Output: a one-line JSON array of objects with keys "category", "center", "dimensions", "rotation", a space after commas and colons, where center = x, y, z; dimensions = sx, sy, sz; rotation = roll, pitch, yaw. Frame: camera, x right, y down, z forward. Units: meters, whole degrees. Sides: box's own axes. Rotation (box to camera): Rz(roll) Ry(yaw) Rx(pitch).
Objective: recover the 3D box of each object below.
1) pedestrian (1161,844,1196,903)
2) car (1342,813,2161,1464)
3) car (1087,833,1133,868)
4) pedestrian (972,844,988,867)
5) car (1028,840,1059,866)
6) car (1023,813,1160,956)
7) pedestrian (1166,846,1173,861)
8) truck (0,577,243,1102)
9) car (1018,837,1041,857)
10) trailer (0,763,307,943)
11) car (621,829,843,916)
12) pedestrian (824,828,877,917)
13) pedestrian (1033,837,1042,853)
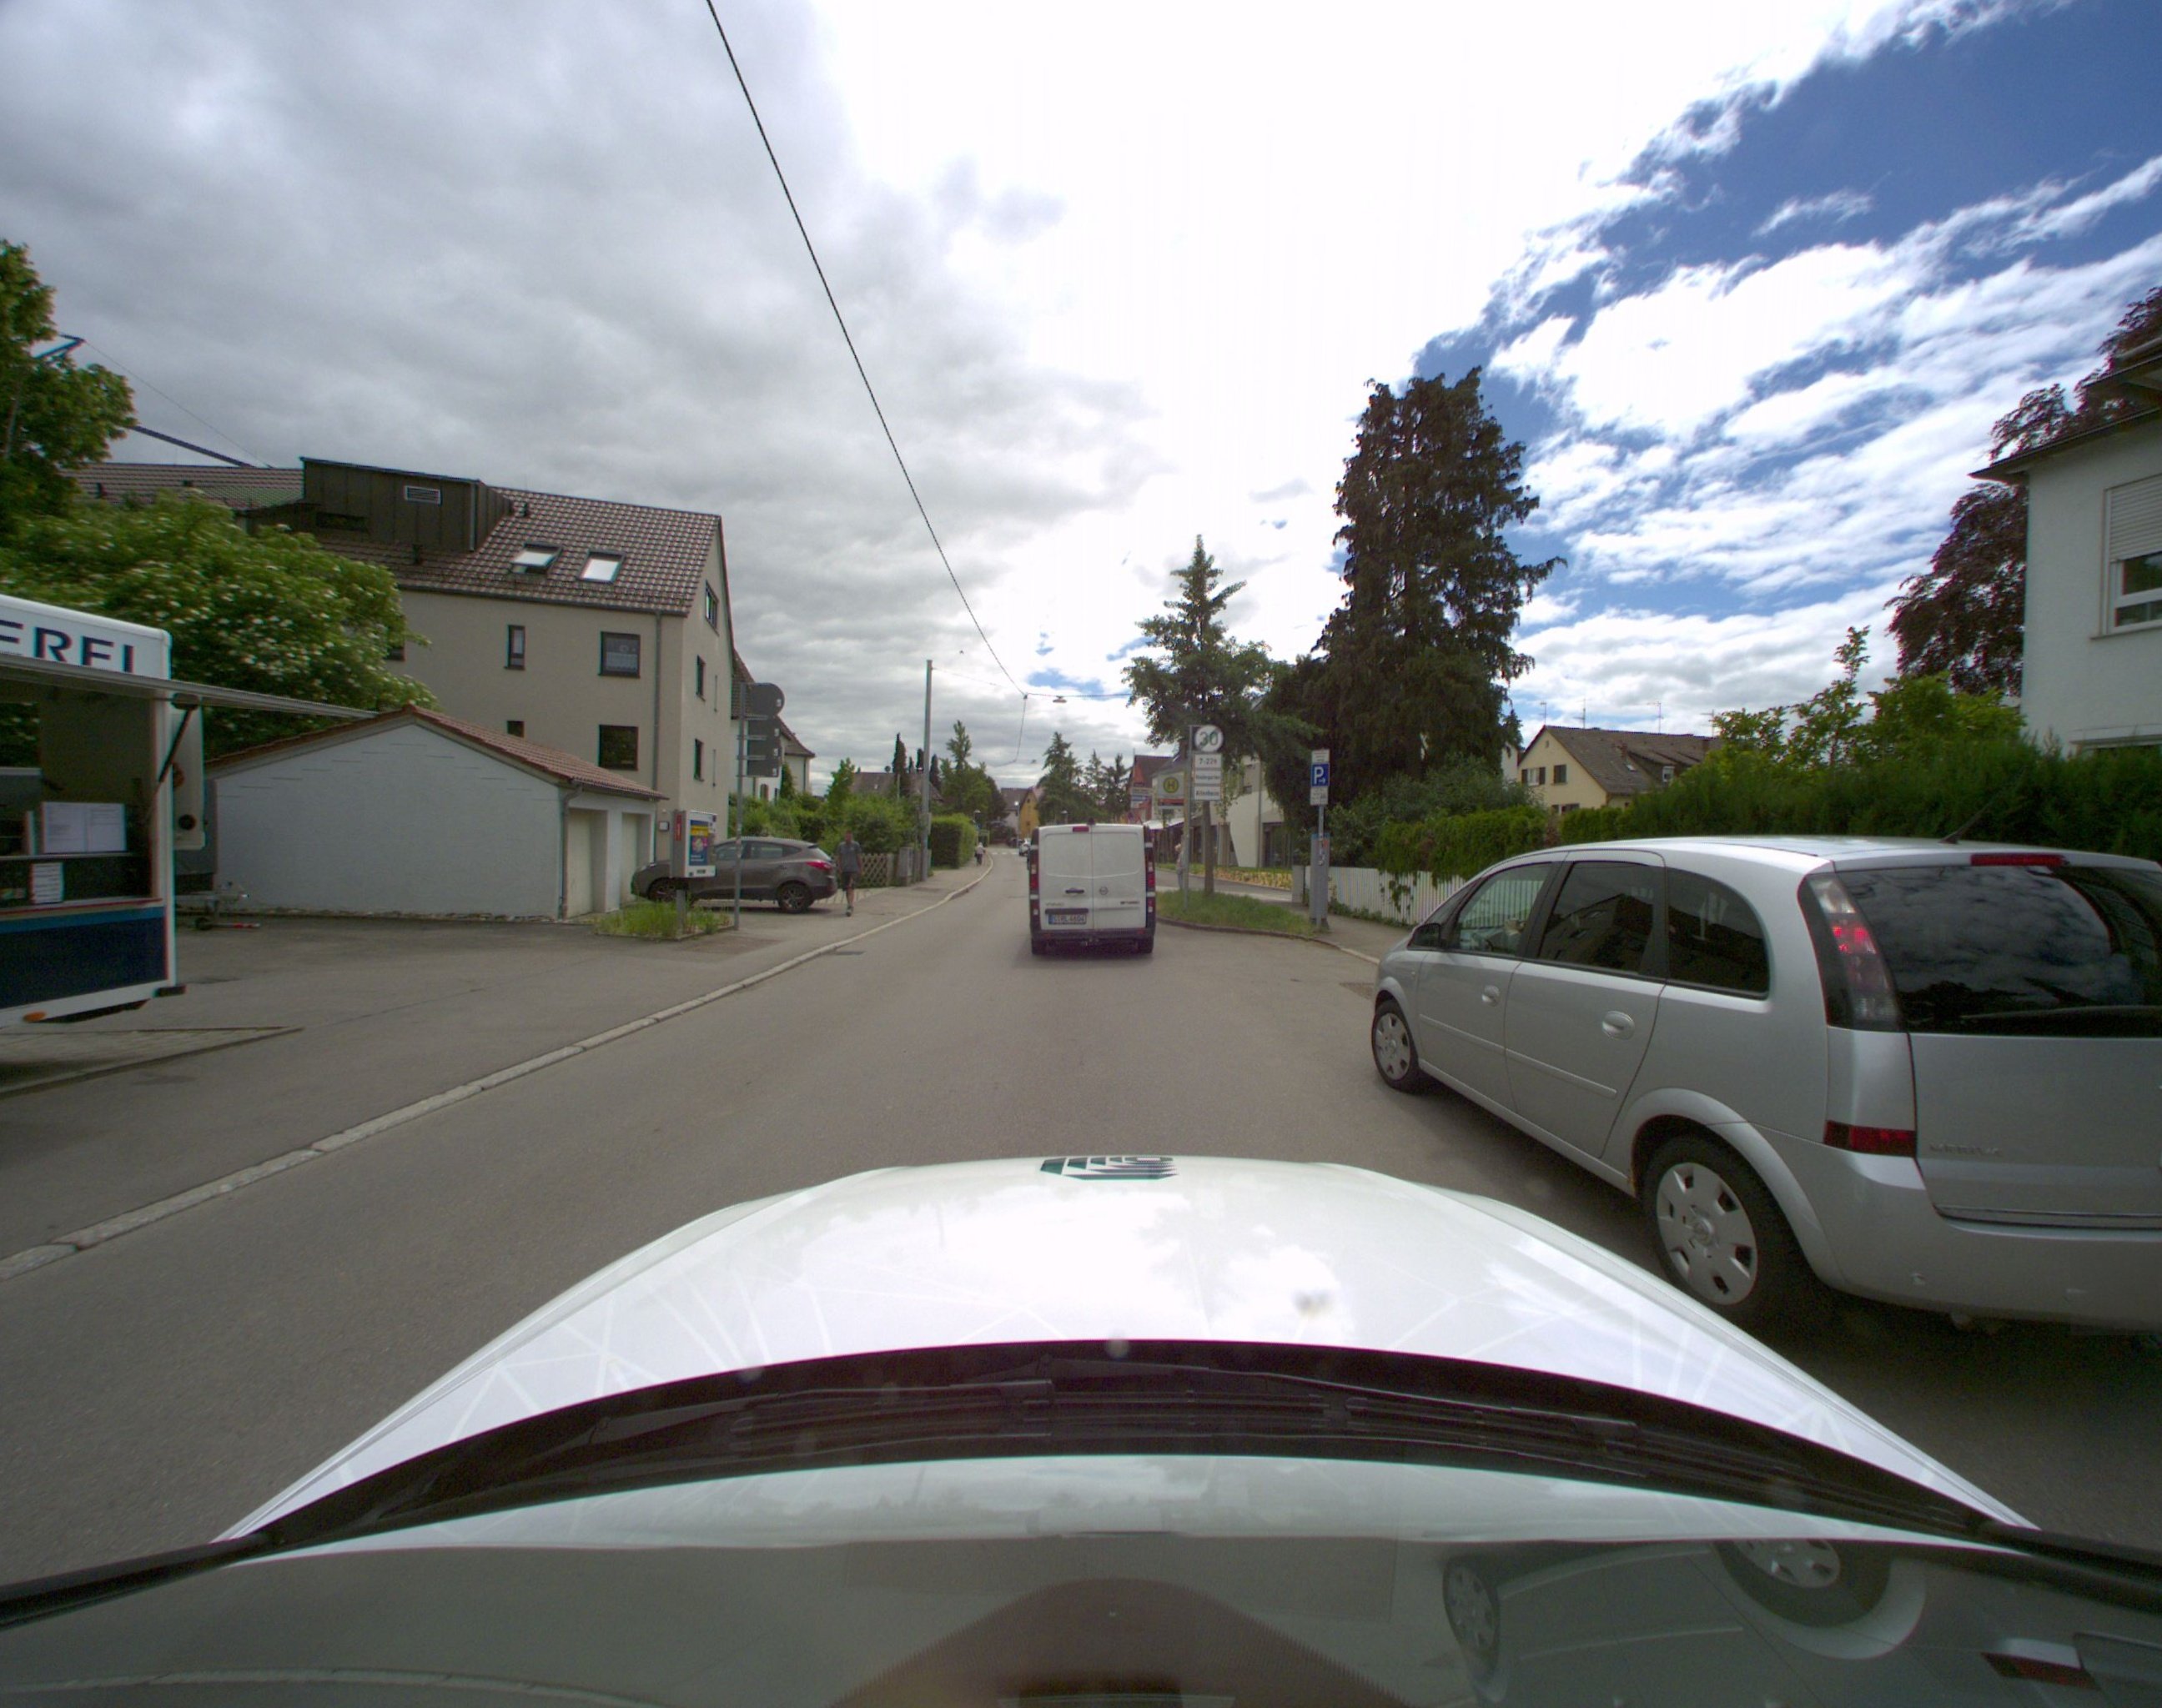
[{"category": "pedestrian", "center": [2.856, 0.566, 23.899], "dimensions": [0.851, 1.645, 0.884], "rotation": [3, 0, 0]}, {"category": "car", "center": [2.838, 0.687, 4.024], "dimensions": [1.754, 1.582, 4.016], "rotation": [0, 0, -1]}, {"category": "car", "center": [1.682, -0.211, 48.613], "dimensions": [1.956, 1.915, 4.890], "rotation": [3, 0, -7]}, {"category": "pedestrian", "center": [-6.631, 0.090, 53.710], "dimensions": [0.880, 1.485, 0.452], "rotation": [3, 0, -26]}, {"category": "car", "center": [-2.759, -0.078, 58.732], "dimensions": [1.991, 1.848, 3.992], "rotation": [0, 0, -6]}, {"category": "car", "center": [0.048, 0.442, 13.670], "dimensions": [1.911, 2.002, 4.433], "rotation": [0, 0, -3]}, {"category": "pedestrian", "center": [6.929, -0.029, 63.808], "dimensions": [0.421, 1.182, 0.323], "rotation": [1, 0, -8]}, {"category": "truck", "center": [-6.989, -0.093, 2.271], "dimensions": [2.467, 2.840, 6.701], "rotation": [1, 0, -3]}, {"category": "car", "center": [-4.742, -0.679, 75.027], "dimensions": [1.991, 1.782, 3.992], "rotation": [0, 0, -6]}, {"category": "trailer", "center": [-13.497, -0.103, 10.626], "dimensions": [4.852, 2.080, 1.702], "rotation": [3, 1, -4]}, {"category": "car", "center": [-7.845, 0.425, 18.740], "dimensions": [4.315, 1.695, 1.790], "rotation": [3, 0, -13]}, {"category": "pedestrian", "center": [-5.309, 0.417, 18.853], "dimensions": [0.730, 1.946, 1.218], "rotation": [3, 0, 3]}, {"category": "pedestrian", "center": [-4.481, -0.950, 83.955], "dimensions": [0.805, 1.609, 0.625], "rotation": [3, 0, -11]}]
